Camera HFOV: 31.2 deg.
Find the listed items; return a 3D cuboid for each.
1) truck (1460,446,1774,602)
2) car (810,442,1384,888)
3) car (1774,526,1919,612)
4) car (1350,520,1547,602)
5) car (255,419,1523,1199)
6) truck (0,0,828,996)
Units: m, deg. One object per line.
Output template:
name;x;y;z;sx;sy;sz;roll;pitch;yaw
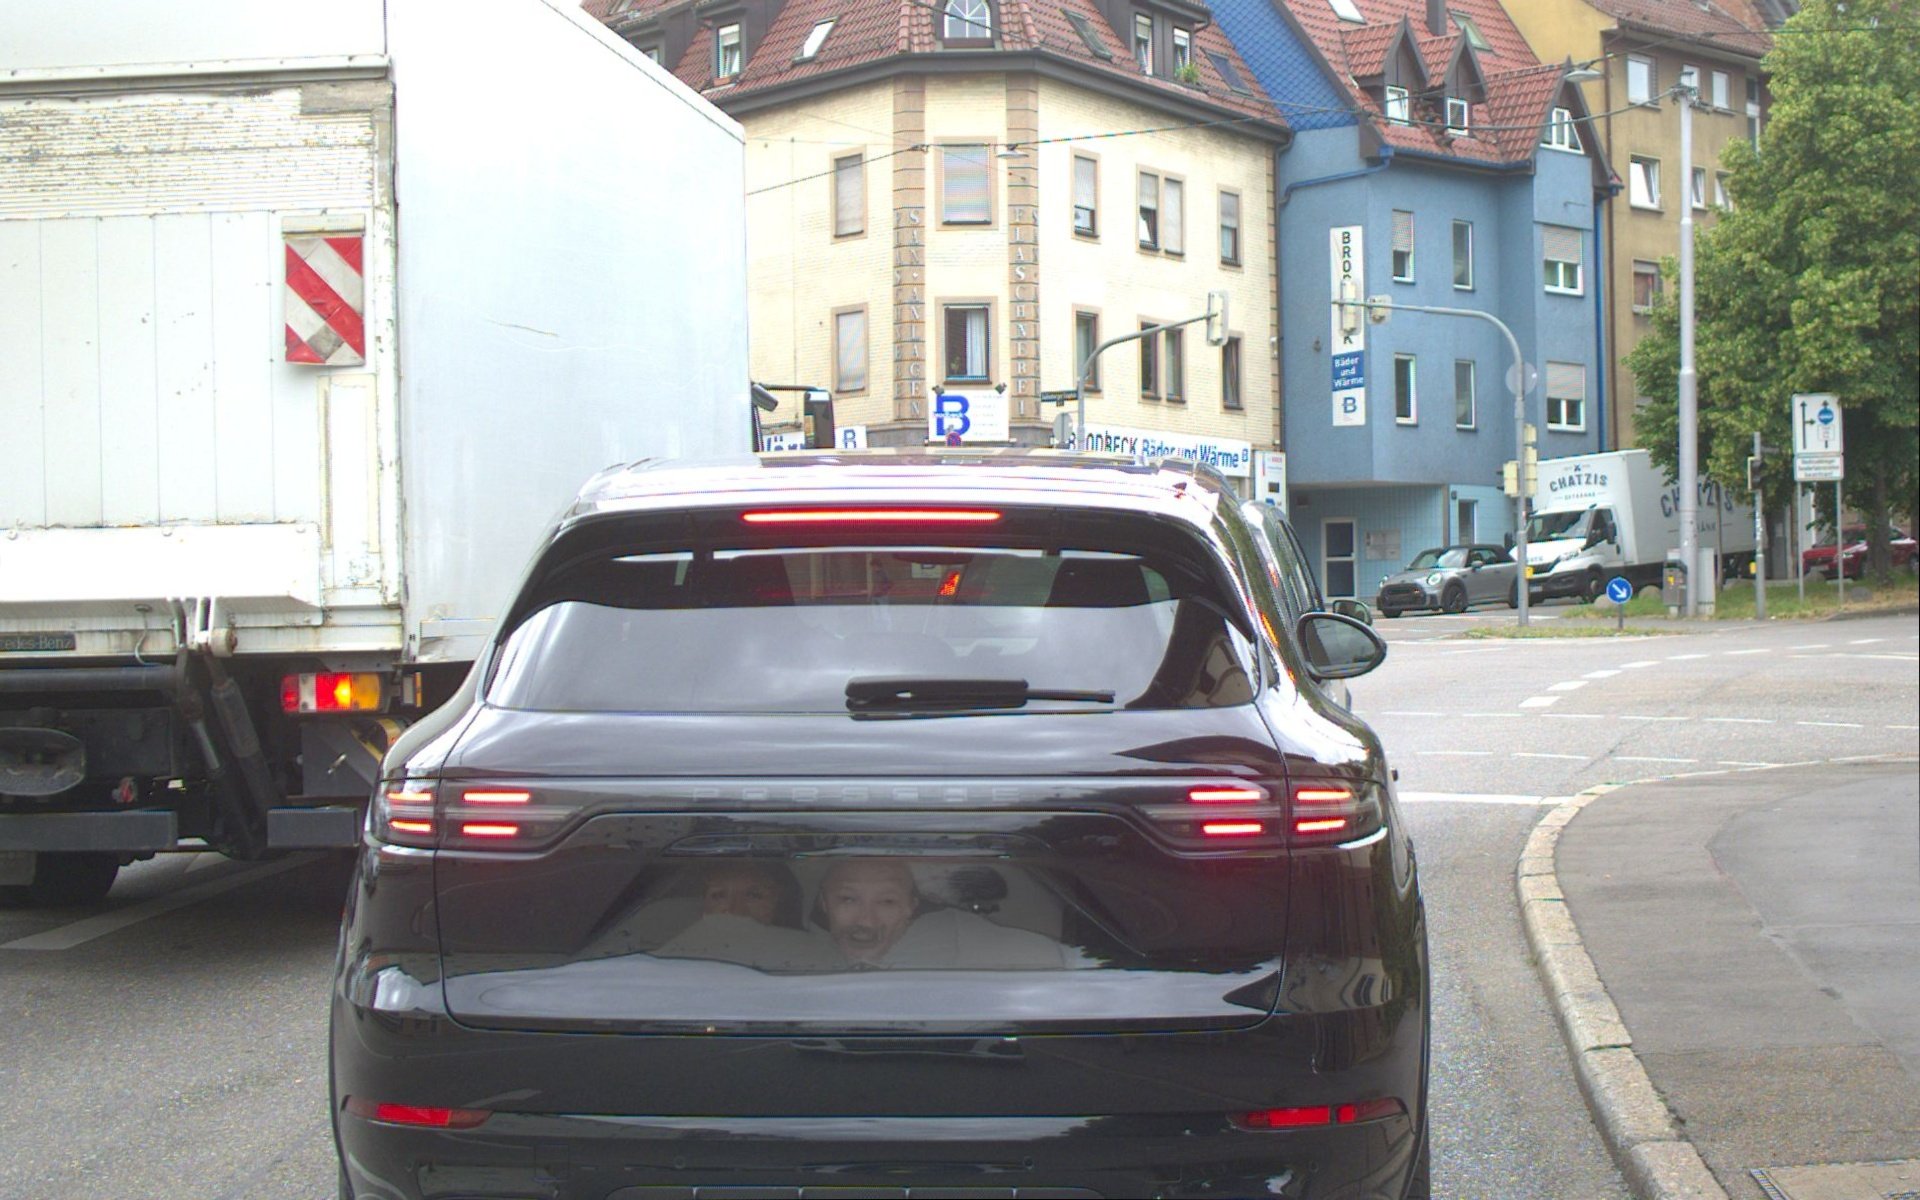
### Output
truck;15.083;-1.674;78.420;2.880;3.328;8.772;2;1;41
car;0.750;0.218;15.062;1.994;1.678;3.998;0;1;10
car;22.347;-0.765;86.170;1.999;2.007;3.990;2;1;43
car;10.231;-0.820;71.810;3.989;1.678;1.999;-1;1;-42
car;-0.217;0.503;7.375;1.978;1.678;4.001;0;2;-3
truck;-2.588;-0.659;14.829;2.769;3.562;8.062;0;1;7
